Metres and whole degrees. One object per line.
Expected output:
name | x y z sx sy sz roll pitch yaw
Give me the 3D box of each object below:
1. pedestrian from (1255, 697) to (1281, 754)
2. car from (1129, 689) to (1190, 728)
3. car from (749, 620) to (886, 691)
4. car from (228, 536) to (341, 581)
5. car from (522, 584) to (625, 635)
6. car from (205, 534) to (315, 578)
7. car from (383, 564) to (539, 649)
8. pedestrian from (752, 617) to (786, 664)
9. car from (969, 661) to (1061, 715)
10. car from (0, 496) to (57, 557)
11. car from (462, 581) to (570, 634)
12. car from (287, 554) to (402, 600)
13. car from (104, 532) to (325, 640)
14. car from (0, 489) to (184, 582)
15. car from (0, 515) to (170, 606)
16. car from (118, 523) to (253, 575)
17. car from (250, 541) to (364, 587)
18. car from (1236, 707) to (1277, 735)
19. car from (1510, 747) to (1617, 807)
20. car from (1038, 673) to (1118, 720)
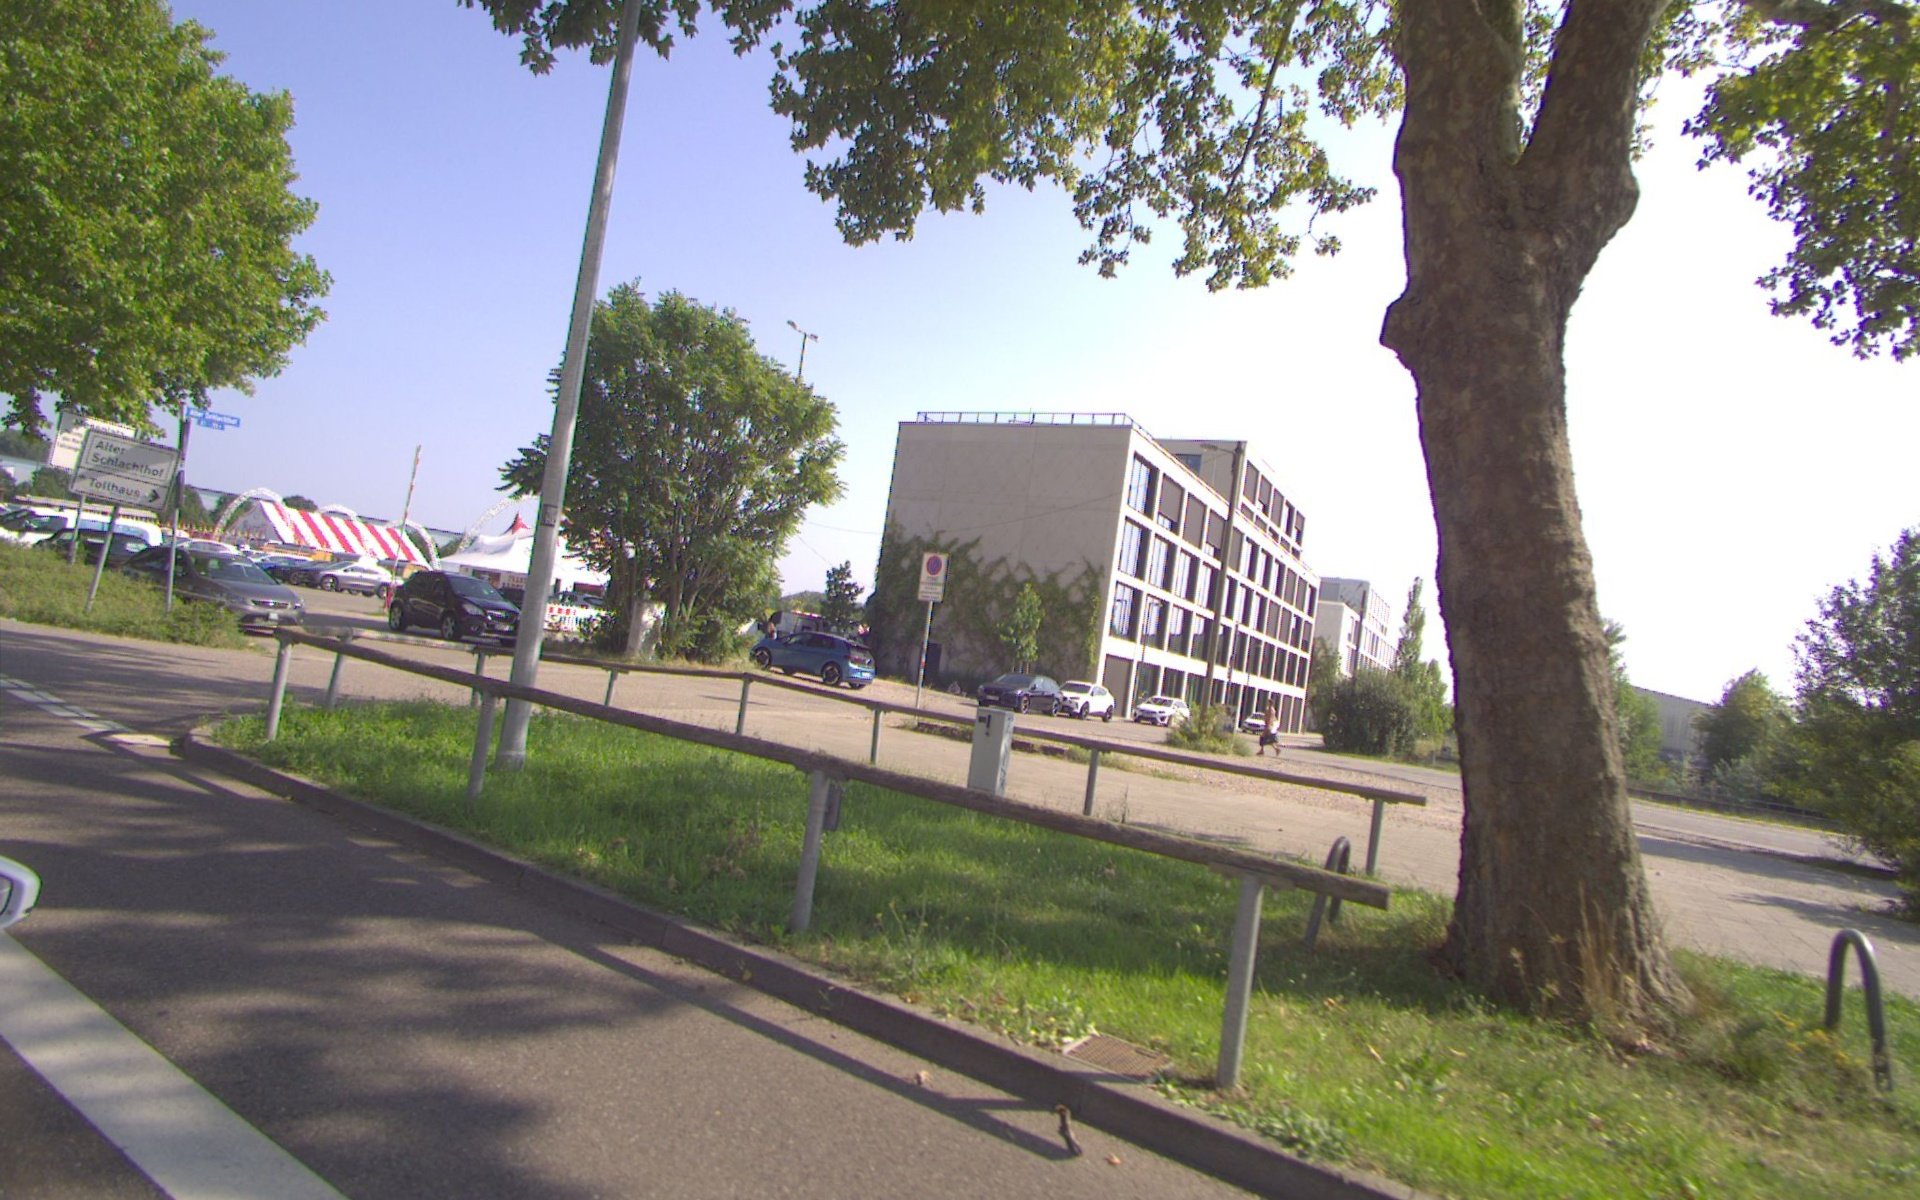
pedestrian | 9.101 3.707 29.770 0.510 1.597 0.501 8 -2 15
car | 9.965 5.436 50.151 1.678 1.460 3.796 7 -4 31
car | -4.606 1.788 32.466 3.886 1.592 1.711 8 -4 25
car | -35.015 -2.115 52.288 1.914 1.479 4.360 7 -4 29
car | -16.488 0.399 42.892 4.047 1.508 1.819 7 -3 30
car | -37.784 -2.350 54.413 1.914 1.479 4.360 7 -4 29
car | -12.623 0.154 25.402 3.733 1.593 1.611 7 -2 31
pedestrian | -7.227 1.544 38.105 0.921 1.661 0.697 8 -2 -26
car | 2.056 3.223 36.442 1.717 1.500 3.798 7 -4 29
car | -29.658 -2.472 29.638 1.966 1.603 3.999 7 -4 30
car | -17.937 0.293 40.586 4.047 1.508 1.819 7 -3 30
car | -30.667 -1.135 50.256 1.916 1.479 4.401 6 -4 34
car | -14.421 -0.299 19.400 4.474 1.465 1.732 7 -2 31
car | -24.634 -1.803 28.160 1.818 1.940 4.110 7 -2 33
car | -19.620 -0.897 22.404 4.048 1.465 1.732 7 -2 31
car | -35.311 -2.276 45.992 1.914 1.479 4.360 7 -4 29
car | -33.150 -1.782 51.220 1.914 1.479 4.360 7 -4 29
car | 20.371 8.329 69.064 1.678 1.460 3.796 7 -4 31
car | 18.710 5.500 31.124 3.757 1.398 1.666 11 -4 -41
car | 4.841 3.952 40.924 1.678 1.460 3.796 7 -4 31
